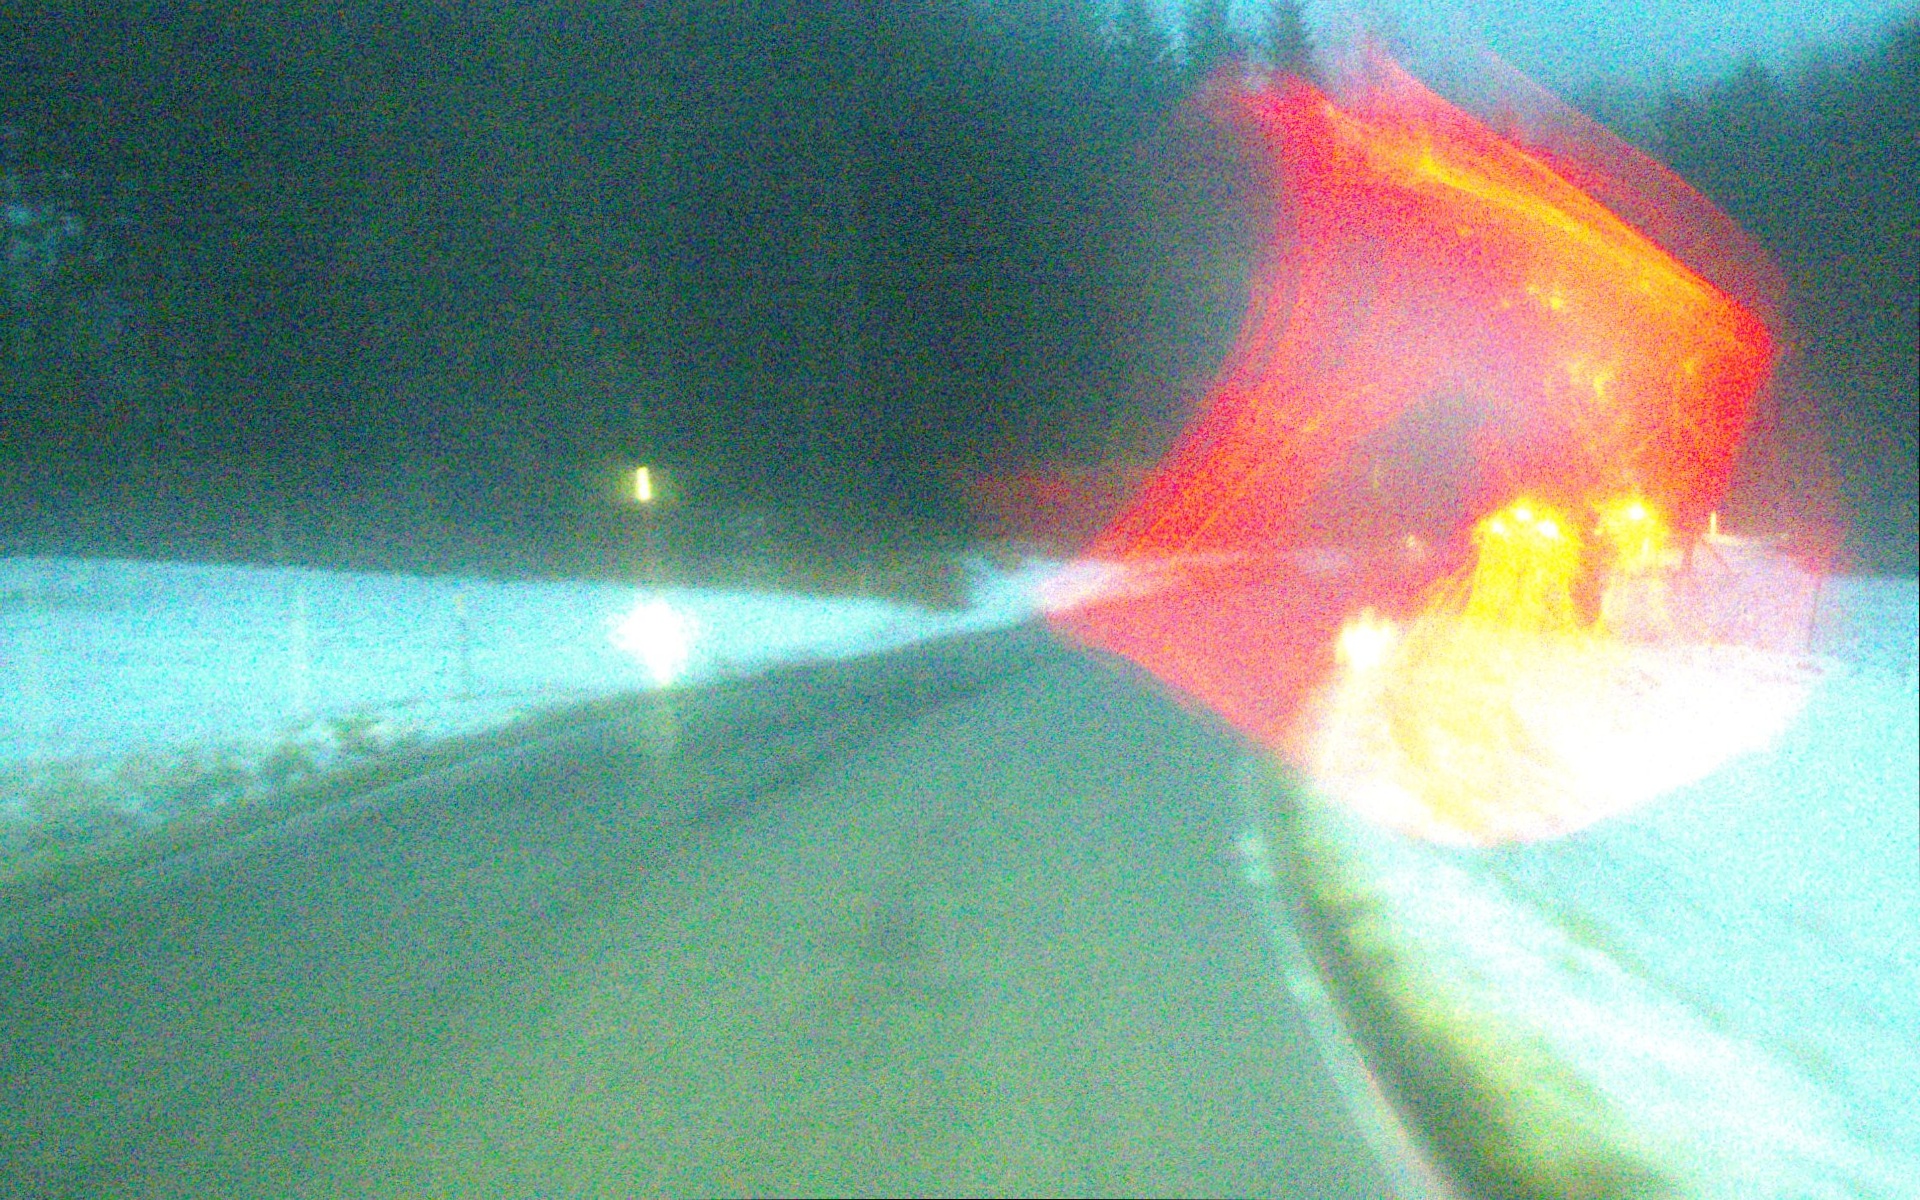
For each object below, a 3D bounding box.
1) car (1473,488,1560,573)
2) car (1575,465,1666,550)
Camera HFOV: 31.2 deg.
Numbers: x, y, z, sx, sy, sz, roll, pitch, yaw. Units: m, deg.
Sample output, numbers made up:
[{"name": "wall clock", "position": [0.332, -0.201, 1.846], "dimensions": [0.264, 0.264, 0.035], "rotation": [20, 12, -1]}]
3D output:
[{"name": "car", "position": [14.518, -1.828, 89.586], "dimensions": [1.994, 2.044, 3.998], "rotation": [2, 3, 12]}, {"name": "car", "position": [21.191, -2.973, 110.150], "dimensions": [2.254, 2.636, 5.002], "rotation": [0, 2, 18]}]
